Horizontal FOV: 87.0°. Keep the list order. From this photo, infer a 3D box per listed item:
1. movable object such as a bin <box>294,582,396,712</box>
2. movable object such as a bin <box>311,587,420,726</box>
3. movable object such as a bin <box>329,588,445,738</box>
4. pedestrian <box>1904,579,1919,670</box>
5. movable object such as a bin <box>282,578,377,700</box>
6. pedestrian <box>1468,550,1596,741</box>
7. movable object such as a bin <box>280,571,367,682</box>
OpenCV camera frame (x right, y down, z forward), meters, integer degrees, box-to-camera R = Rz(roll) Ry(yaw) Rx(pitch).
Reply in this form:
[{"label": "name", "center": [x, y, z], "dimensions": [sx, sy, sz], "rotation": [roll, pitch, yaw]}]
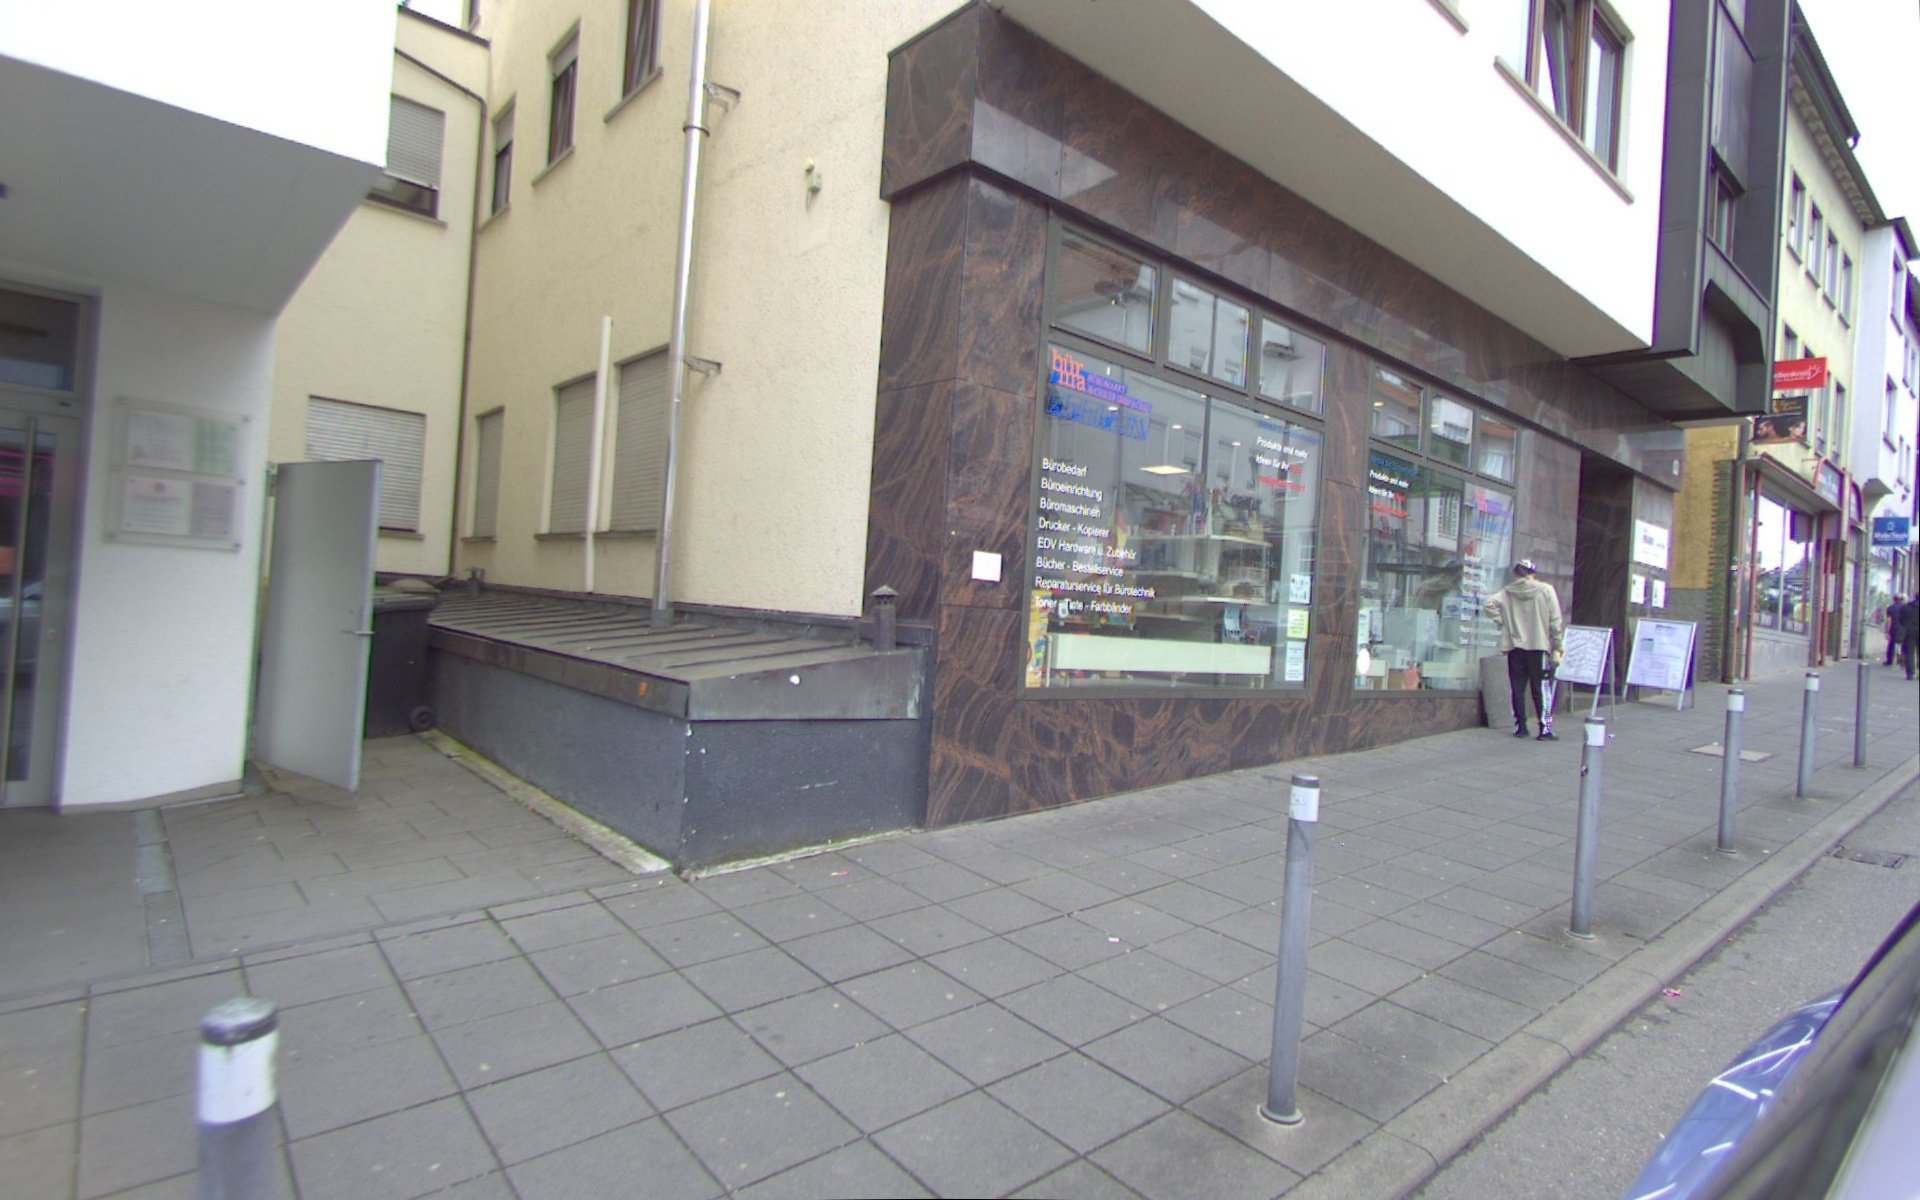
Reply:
[{"label": "movable object such as a bin", "center": [-5.464, 0.390, 8.982], "dimensions": [0.643, 1.072, 0.747], "rotation": [0, 2, -42]}, {"label": "movable object such as a bin", "center": [-4.953, 0.441, 8.425], "dimensions": [0.643, 1.072, 0.747], "rotation": [0, 2, -42]}, {"label": "movable object such as a bin", "center": [-4.457, 0.457, 7.863], "dimensions": [0.643, 1.072, 0.723], "rotation": [0, 2, -42]}, {"label": "pedestrian", "center": [18.481, 0.475, 19.314], "dimensions": [0.637, 1.720, 0.697], "rotation": [3, 2, 44]}, {"label": "movable object such as a bin", "center": [-5.957, 0.344, 9.556], "dimensions": [0.643, 1.072, 0.747], "rotation": [0, 2, -42]}, {"label": "pedestrian", "center": [5.465, 0.404, 9.676], "dimensions": [0.767, 1.693, 0.759], "rotation": [1, 4, -43]}, {"label": "movable object such as a bin", "center": [-6.574, 0.253, 10.448], "dimensions": [0.643, 1.072, 0.747], "rotation": [0, 2, -42]}]
